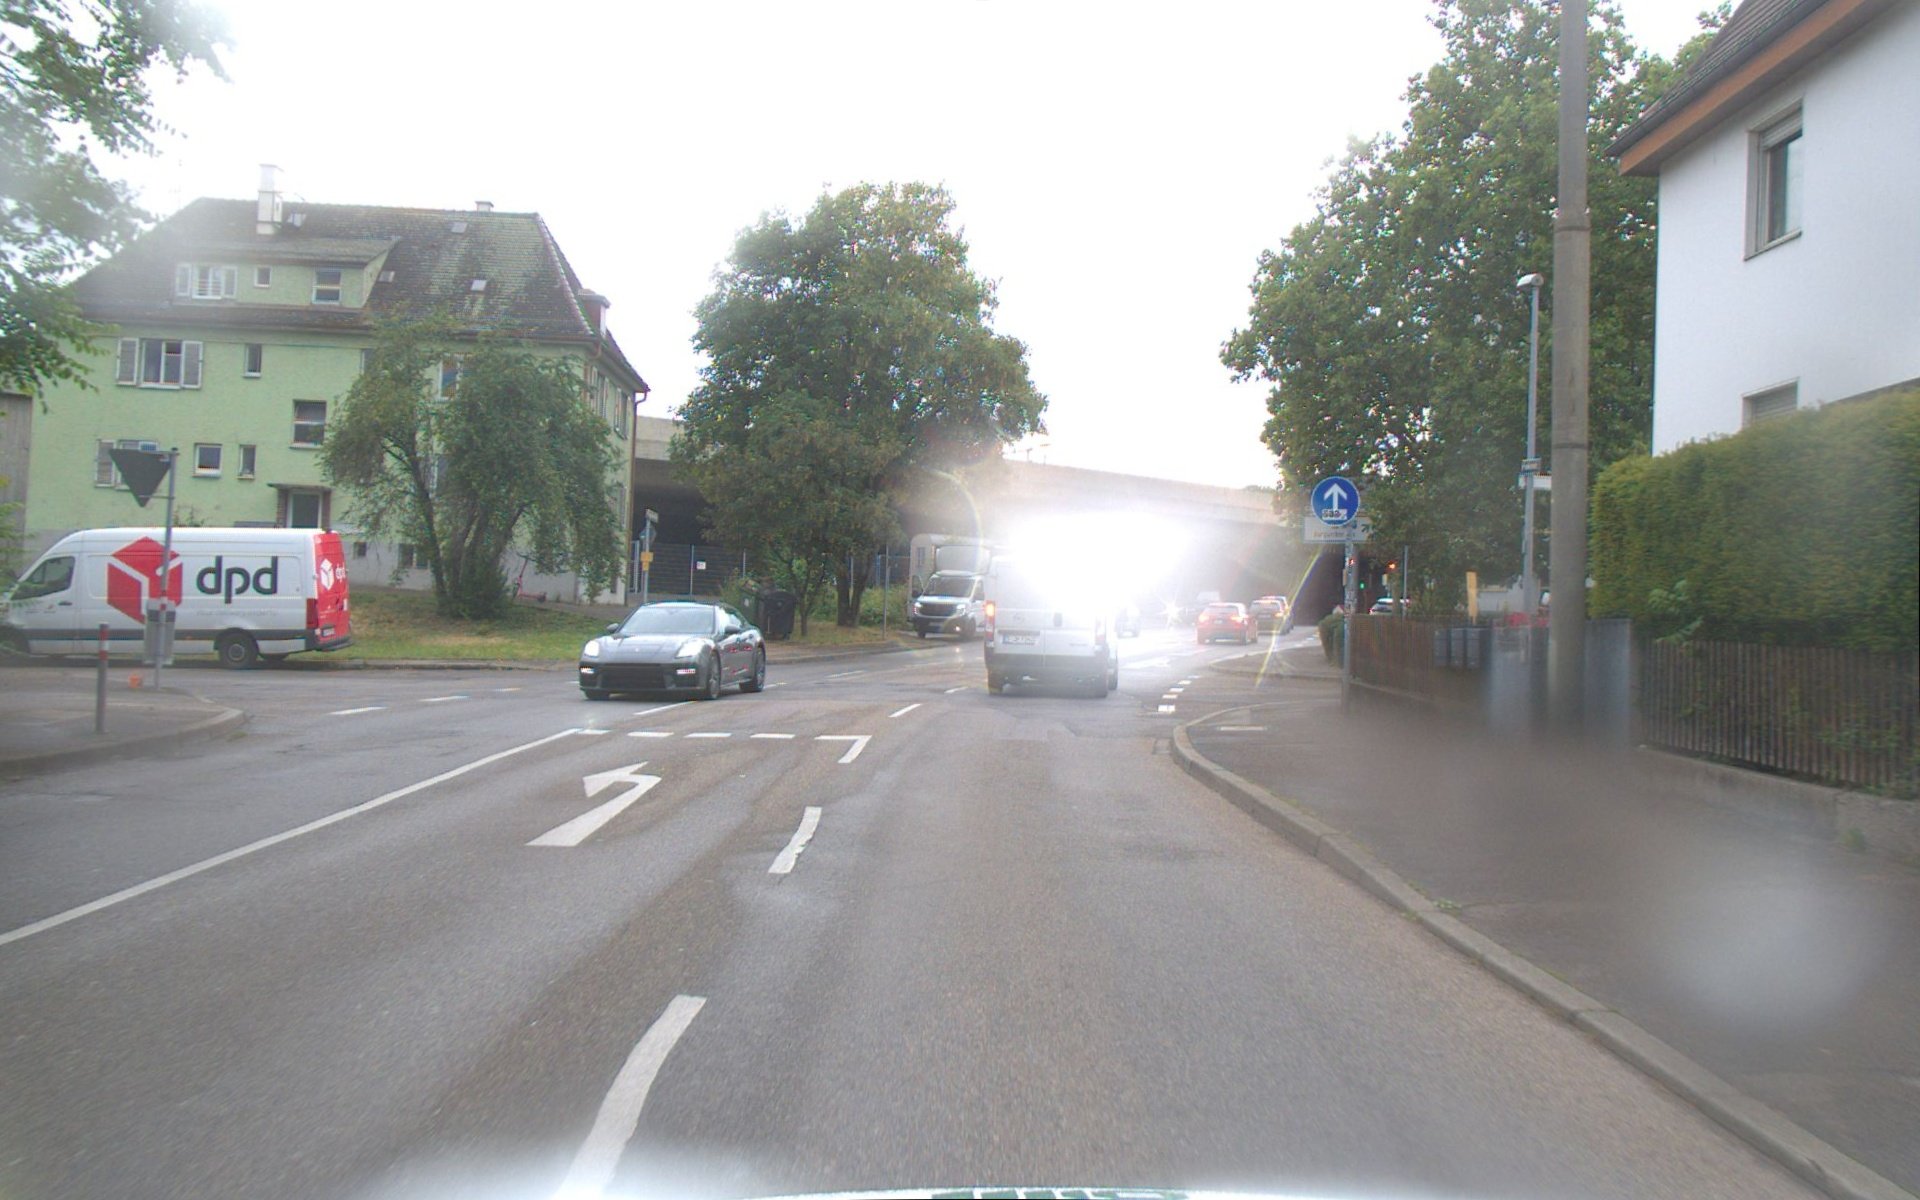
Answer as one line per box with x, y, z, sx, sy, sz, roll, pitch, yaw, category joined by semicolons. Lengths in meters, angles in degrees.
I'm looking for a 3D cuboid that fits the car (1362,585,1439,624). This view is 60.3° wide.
18.556;0.193;69.618;1.959;1.576;3.987;1;0;34;car

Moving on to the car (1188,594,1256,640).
9.314;0.601;58.649;1.951;1.540;4.003;1;0;15;car

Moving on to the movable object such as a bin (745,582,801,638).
-5.599;0.299;49.424;1.085;1.461;1.450;4;4;-28;movable object such as a bin

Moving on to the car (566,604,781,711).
-4.280;0.821;25.558;1.951;1.468;4.778;1;0;7;car

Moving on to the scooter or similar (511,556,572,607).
-11.801;-0.526;46.663;1.489;1.295;0.530;5;0;14;scooter or similar

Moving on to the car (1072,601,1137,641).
5.588;0.777;63.536;1.854;1.487;4.003;0;0;14;car

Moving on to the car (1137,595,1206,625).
12.938;0.598;101.357;1.816;1.606;4.282;0;2;-35;car

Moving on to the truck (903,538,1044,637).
0.626;-0.437;59.513;2.556;3.293;7.777;1;0;20;truck

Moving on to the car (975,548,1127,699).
1.706;0.338;29.059;2.256;2.384;5.286;1;1;7;car

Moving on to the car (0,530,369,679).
-15.246;0.090;32.128;6.663;2.702;2.262;1;0;-2;car

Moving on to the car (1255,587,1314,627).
14.767;0.338;75.132;1.953;1.759;4.000;1;0;21;car

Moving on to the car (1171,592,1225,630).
12.513;0.556;86.751;1.917;1.965;4.685;0;0;19;car

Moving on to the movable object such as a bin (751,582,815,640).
-5.149;0.307;48.023;1.275;1.461;1.450;4;4;-28;movable object such as a bin

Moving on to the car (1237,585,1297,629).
12.869;0.280;69.243;1.952;1.759;4.002;1;0;18;car
